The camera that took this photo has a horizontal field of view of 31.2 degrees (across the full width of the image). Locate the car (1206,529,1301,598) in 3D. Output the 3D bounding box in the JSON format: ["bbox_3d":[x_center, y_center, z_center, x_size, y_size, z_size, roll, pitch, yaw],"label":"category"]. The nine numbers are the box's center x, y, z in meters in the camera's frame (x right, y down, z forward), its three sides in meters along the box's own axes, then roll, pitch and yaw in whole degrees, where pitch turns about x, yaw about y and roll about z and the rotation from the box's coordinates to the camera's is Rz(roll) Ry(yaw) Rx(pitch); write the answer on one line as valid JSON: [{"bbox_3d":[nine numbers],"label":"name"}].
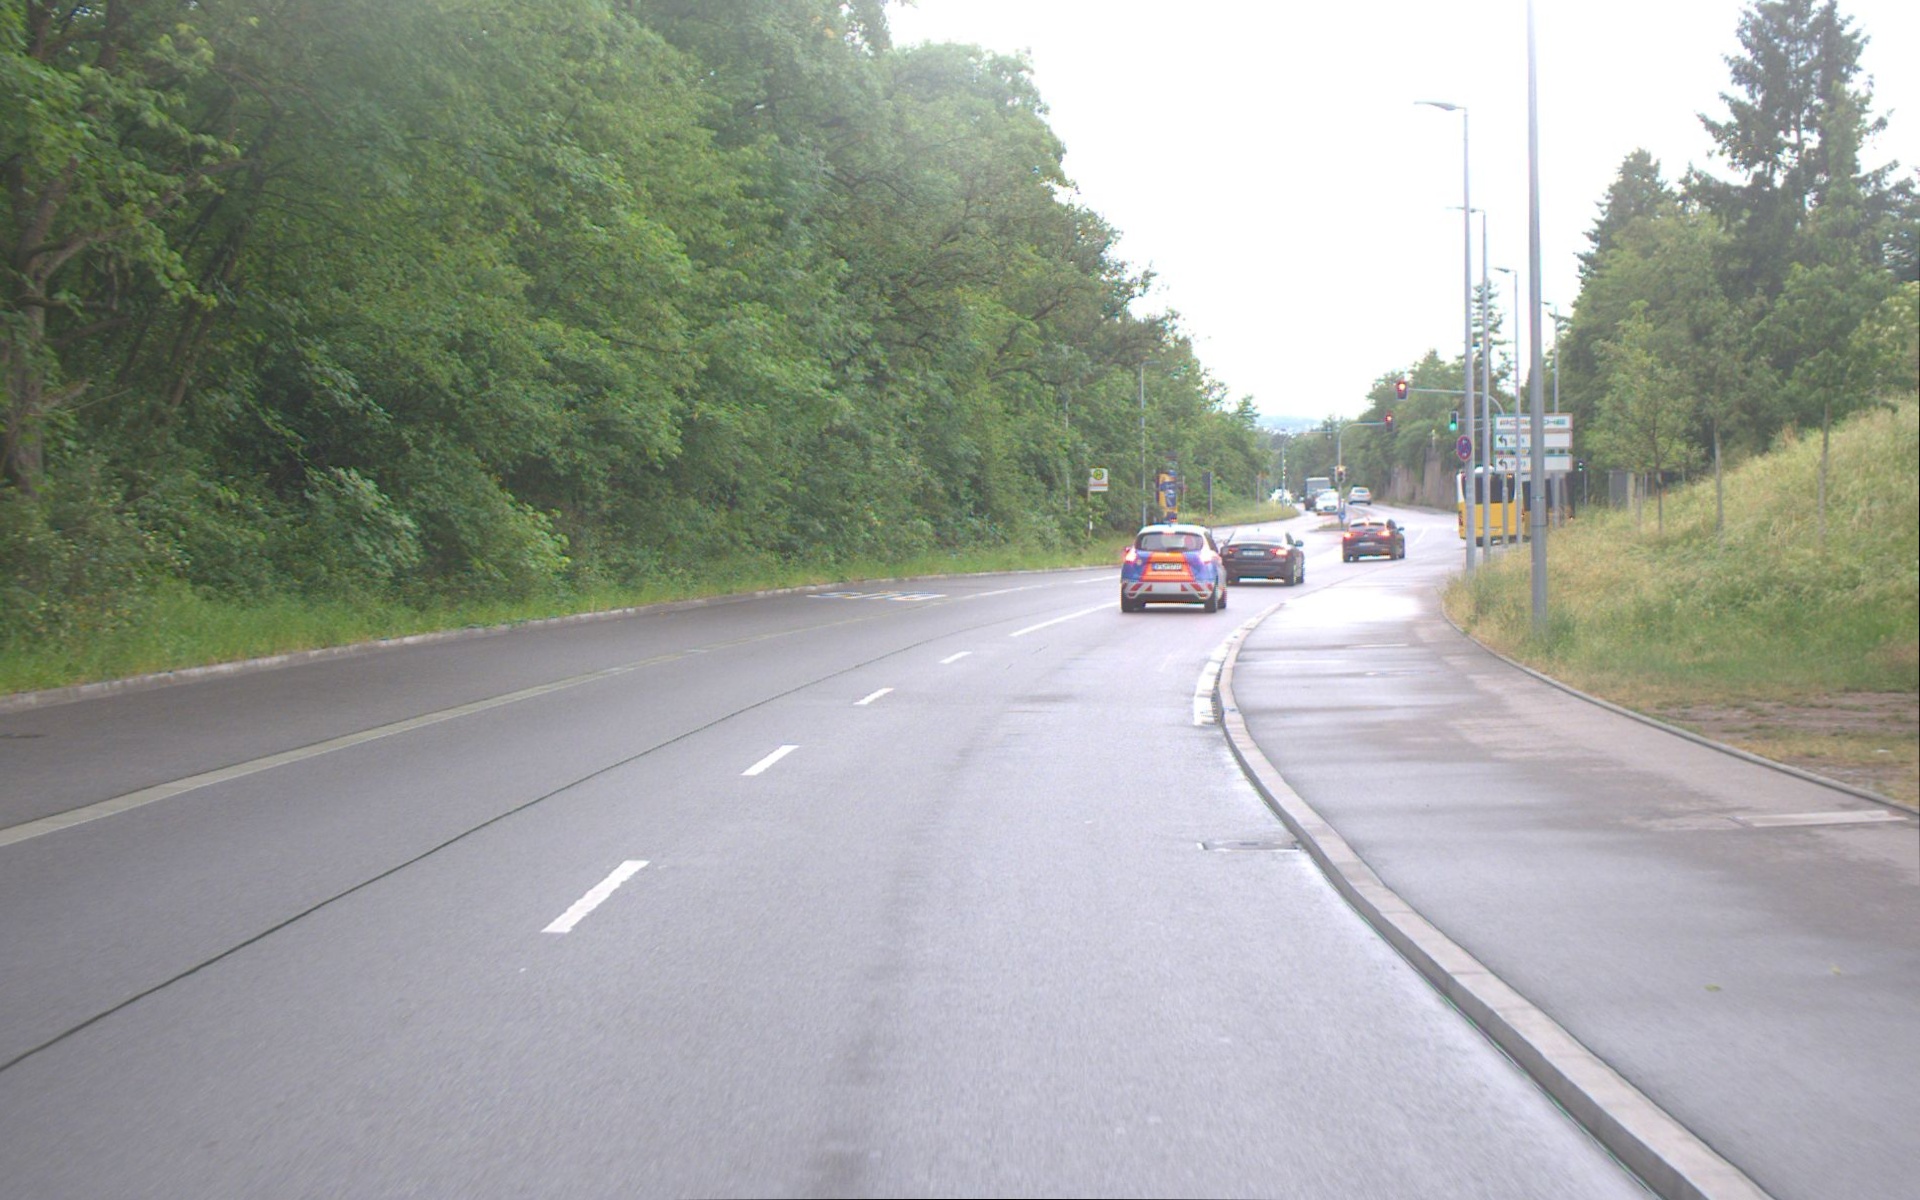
[{"bbox_3d":[7.160,-0.899,83.644,1.928,1.481,3.798,-1,3,10],"label":"car"}]

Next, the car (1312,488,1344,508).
[{"bbox_3d":[25.329,-7.016,236.643,1.994,1.415,4.000,0,1,4],"label":"car"}]

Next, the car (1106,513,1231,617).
[{"bbox_3d":[3.829,-0.662,62.563,1.994,1.683,4.000,-1,3,7],"label":"car"}]

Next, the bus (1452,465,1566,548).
[{"bbox_3d":[21.752,-3.680,135.810,2.819,3.132,9.171,1,1,20],"label":"bus"}]

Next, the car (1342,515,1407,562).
[{"bbox_3d":[13.924,-2.083,115.364,1.994,1.546,3.999,0,1,10],"label":"car"}]
